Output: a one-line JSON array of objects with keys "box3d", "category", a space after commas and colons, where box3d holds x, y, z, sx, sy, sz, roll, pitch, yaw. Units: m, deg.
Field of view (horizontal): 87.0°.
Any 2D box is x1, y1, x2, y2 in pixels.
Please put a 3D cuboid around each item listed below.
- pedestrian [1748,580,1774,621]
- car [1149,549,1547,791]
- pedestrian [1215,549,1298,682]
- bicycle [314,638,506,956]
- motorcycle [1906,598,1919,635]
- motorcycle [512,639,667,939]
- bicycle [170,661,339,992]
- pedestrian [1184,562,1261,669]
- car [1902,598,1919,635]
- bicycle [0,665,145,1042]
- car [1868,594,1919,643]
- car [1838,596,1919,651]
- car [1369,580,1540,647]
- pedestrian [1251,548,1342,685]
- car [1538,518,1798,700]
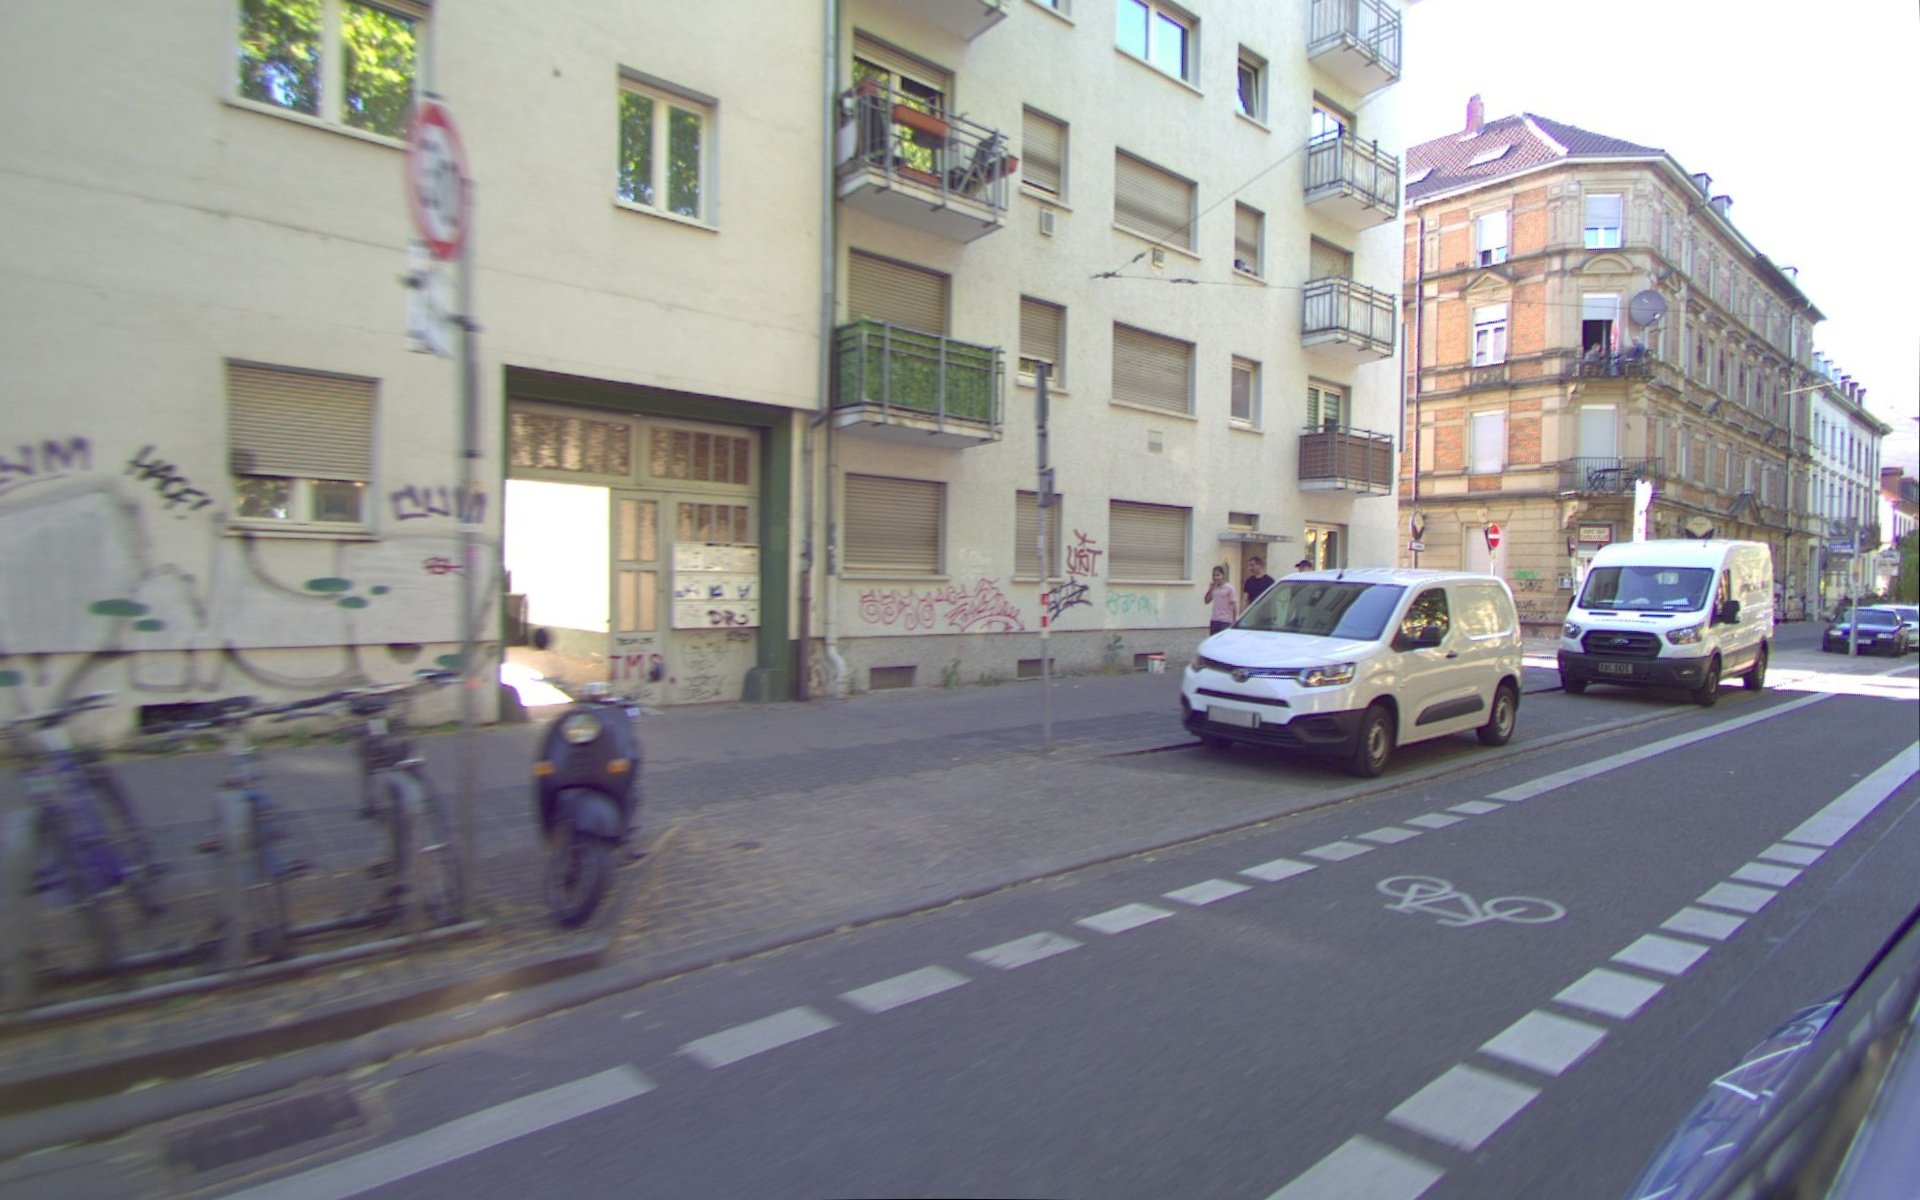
[{"box3d": [33.282, 0.003, 42.048, 0.753, 1.677, 0.716, 0, 1, -41], "category": "pedestrian"}, {"box3d": [4.016, 0.480, 10.139, 4.276, 1.841, 1.863, -2, 6, -41], "category": "car"}, {"box3d": [4.311, 0.200, 14.723, 1.062, 1.845, 0.627, -1, 3, -39], "category": "pedestrian"}, {"box3d": [-2.575, 0.785, 4.652, 0.449, 1.068, 1.657, 0, 3, -40], "category": "bicycle"}, {"box3d": [34.790, 0.606, 35.579, 2.121, 1.305, 0.637, 1, 1, 29], "category": "motorcycle"}, {"box3d": [-1.819, 0.820, 5.139, 0.604, 1.093, 1.829, 1, 2, -17], "category": "motorcycle"}, {"box3d": [-3.052, 0.841, 4.319, 0.449, 0.999, 1.656, 0, 2, -40], "category": "bicycle"}, {"box3d": [4.158, 0.230, 16.050, 0.916, 1.598, 0.634, -1, 7, -39], "category": "pedestrian"}, {"box3d": [36.652, 0.641, 37.842, 3.660, 1.288, 1.653, -1, 4, -41], "category": "car"}, {"box3d": [-3.458, 0.851, 3.913, 0.449, 0.999, 1.657, 0, 3, -40], "category": "bicycle"}, {"box3d": [31.571, 0.590, 33.555, 3.942, 1.438, 1.606, -1, 4, -40], "category": "car"}, {"box3d": [27.651, 0.648, 30.236, 3.991, 1.438, 1.652, -1, 4, -42], "category": "car"}, {"box3d": [13.013, 0.298, 26.791, 1.758, 1.593, 3.658, 0, 1, -39], "category": "car"}, {"box3d": [4.723, 0.200, 14.192, 1.062, 1.845, 0.711, -1, 3, -39], "category": "pedestrian"}, {"box3d": [11.914, 0.079, 16.819, 5.982, 2.526, 2.153, -1, 1, -41], "category": "car"}]
